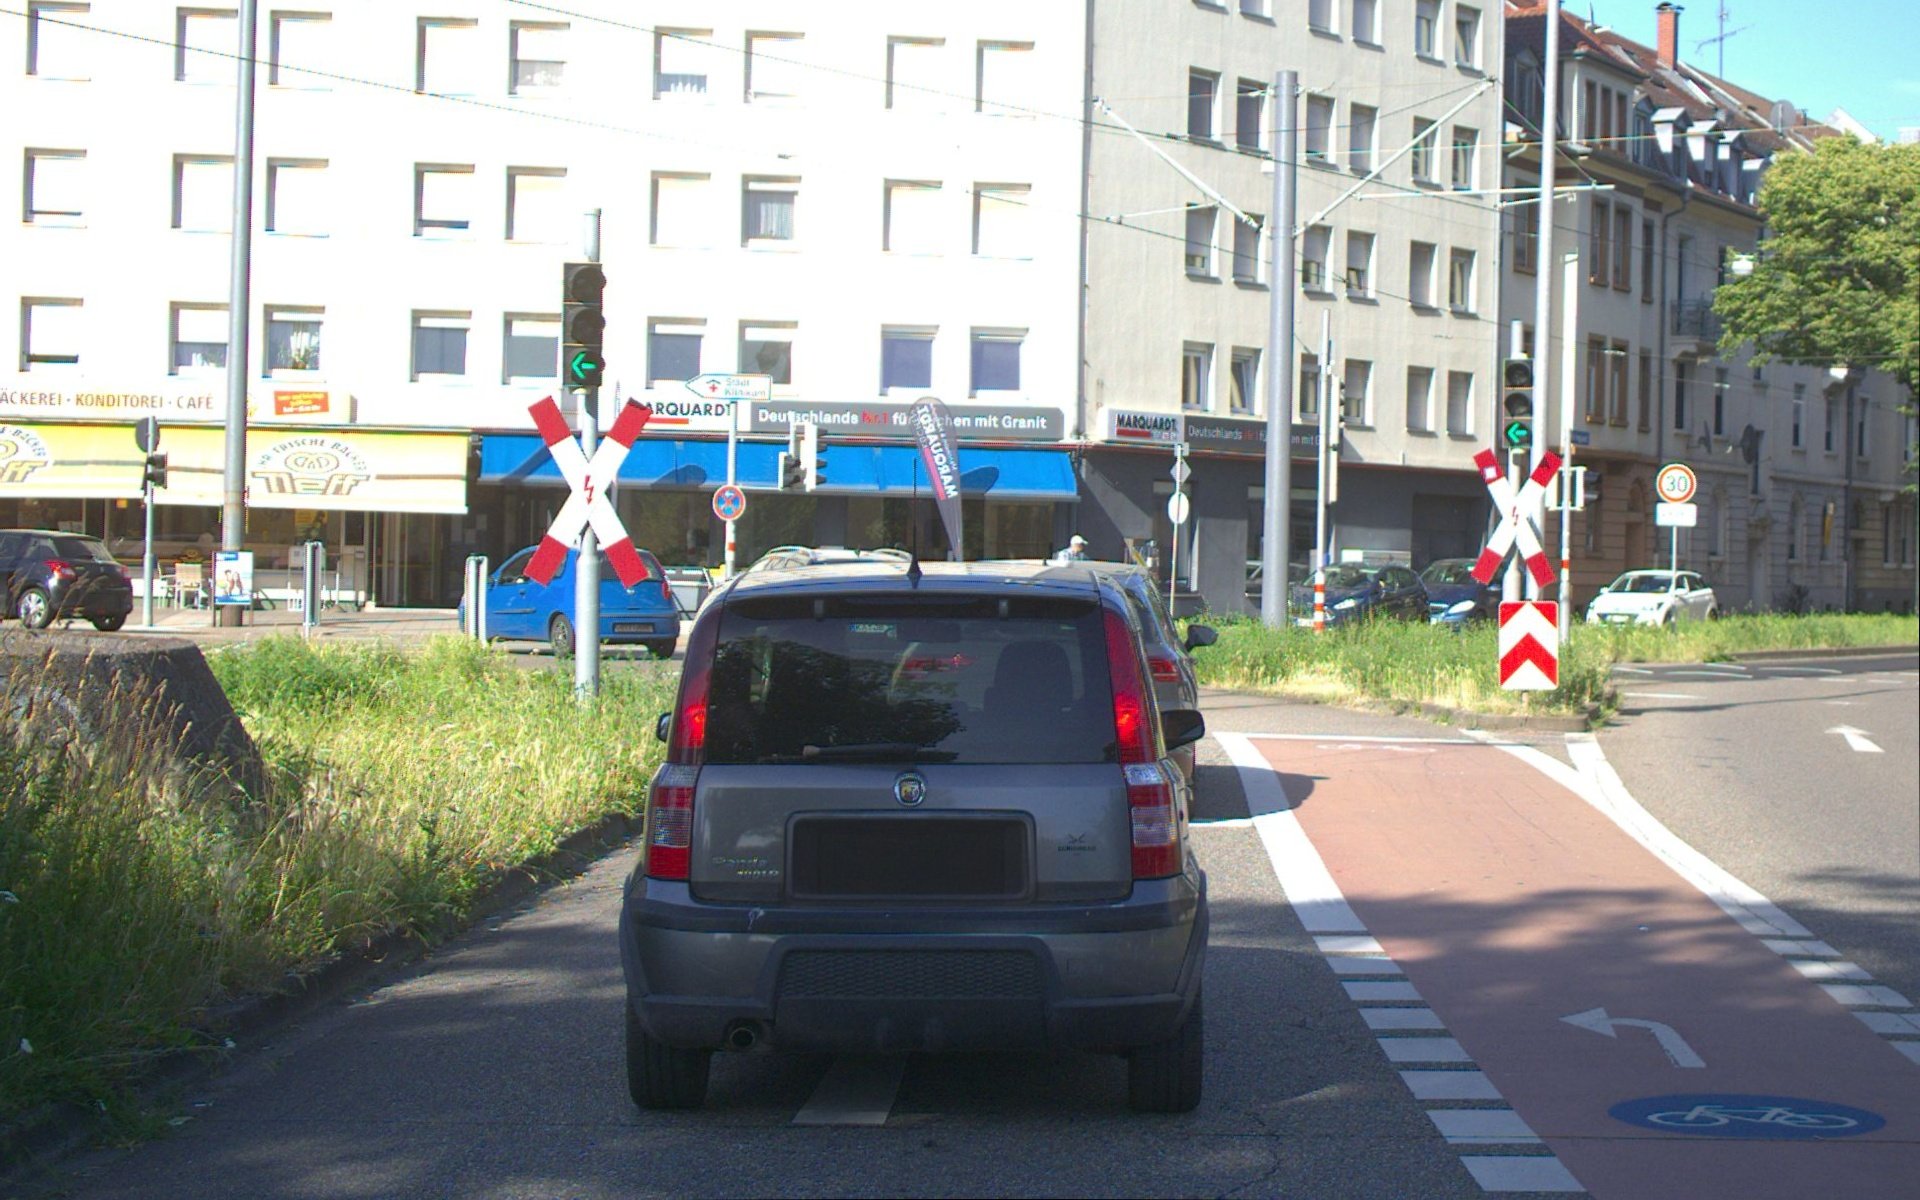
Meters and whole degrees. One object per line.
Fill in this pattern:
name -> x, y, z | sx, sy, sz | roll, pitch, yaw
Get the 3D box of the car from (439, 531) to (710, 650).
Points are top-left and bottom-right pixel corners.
car -> -5.037, -0.132, 44.736 | 3.393, 1.433, 1.647 | 2, 1, 42

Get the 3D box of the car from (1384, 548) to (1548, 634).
car -> 9.791, -0.171, 66.325 | 1.793, 1.560, 3.760 | 2, 1, 31

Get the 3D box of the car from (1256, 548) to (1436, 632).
car -> 6.905, -0.179, 61.232 | 1.793, 1.391, 3.718 | 2, 1, 31

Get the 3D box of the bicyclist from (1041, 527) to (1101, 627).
bicyclist -> 1.757, -0.361, 54.508 | 0.821, 1.553, 0.562 | 2, 1, 14

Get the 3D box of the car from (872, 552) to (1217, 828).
car -> 0.407, 0.458, 20.173 | 1.621, 1.424, 3.689 | 1, 1, -4

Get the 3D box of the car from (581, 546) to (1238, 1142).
car -> -0.214, 0.608, 10.489 | 1.659, 1.505, 3.252 | 1, 1, -3

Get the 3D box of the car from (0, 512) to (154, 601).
car -> -13.997, -0.673, 51.206 | 3.619, 1.249, 1.693 | 2, 1, 28

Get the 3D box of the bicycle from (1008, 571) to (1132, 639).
bicycle -> 1.745, 0.073, 54.514 | 1.852, 1.029, 0.589 | 2, 1, 13

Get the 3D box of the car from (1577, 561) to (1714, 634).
car -> 14.782, -0.061, 74.023 | 1.793, 1.478, 3.526 | 2, 1, 31

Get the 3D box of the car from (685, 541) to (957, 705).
car -> -1.460, 0.187, 34.261 | 1.759, 1.481, 4.295 | 1, 1, -15
